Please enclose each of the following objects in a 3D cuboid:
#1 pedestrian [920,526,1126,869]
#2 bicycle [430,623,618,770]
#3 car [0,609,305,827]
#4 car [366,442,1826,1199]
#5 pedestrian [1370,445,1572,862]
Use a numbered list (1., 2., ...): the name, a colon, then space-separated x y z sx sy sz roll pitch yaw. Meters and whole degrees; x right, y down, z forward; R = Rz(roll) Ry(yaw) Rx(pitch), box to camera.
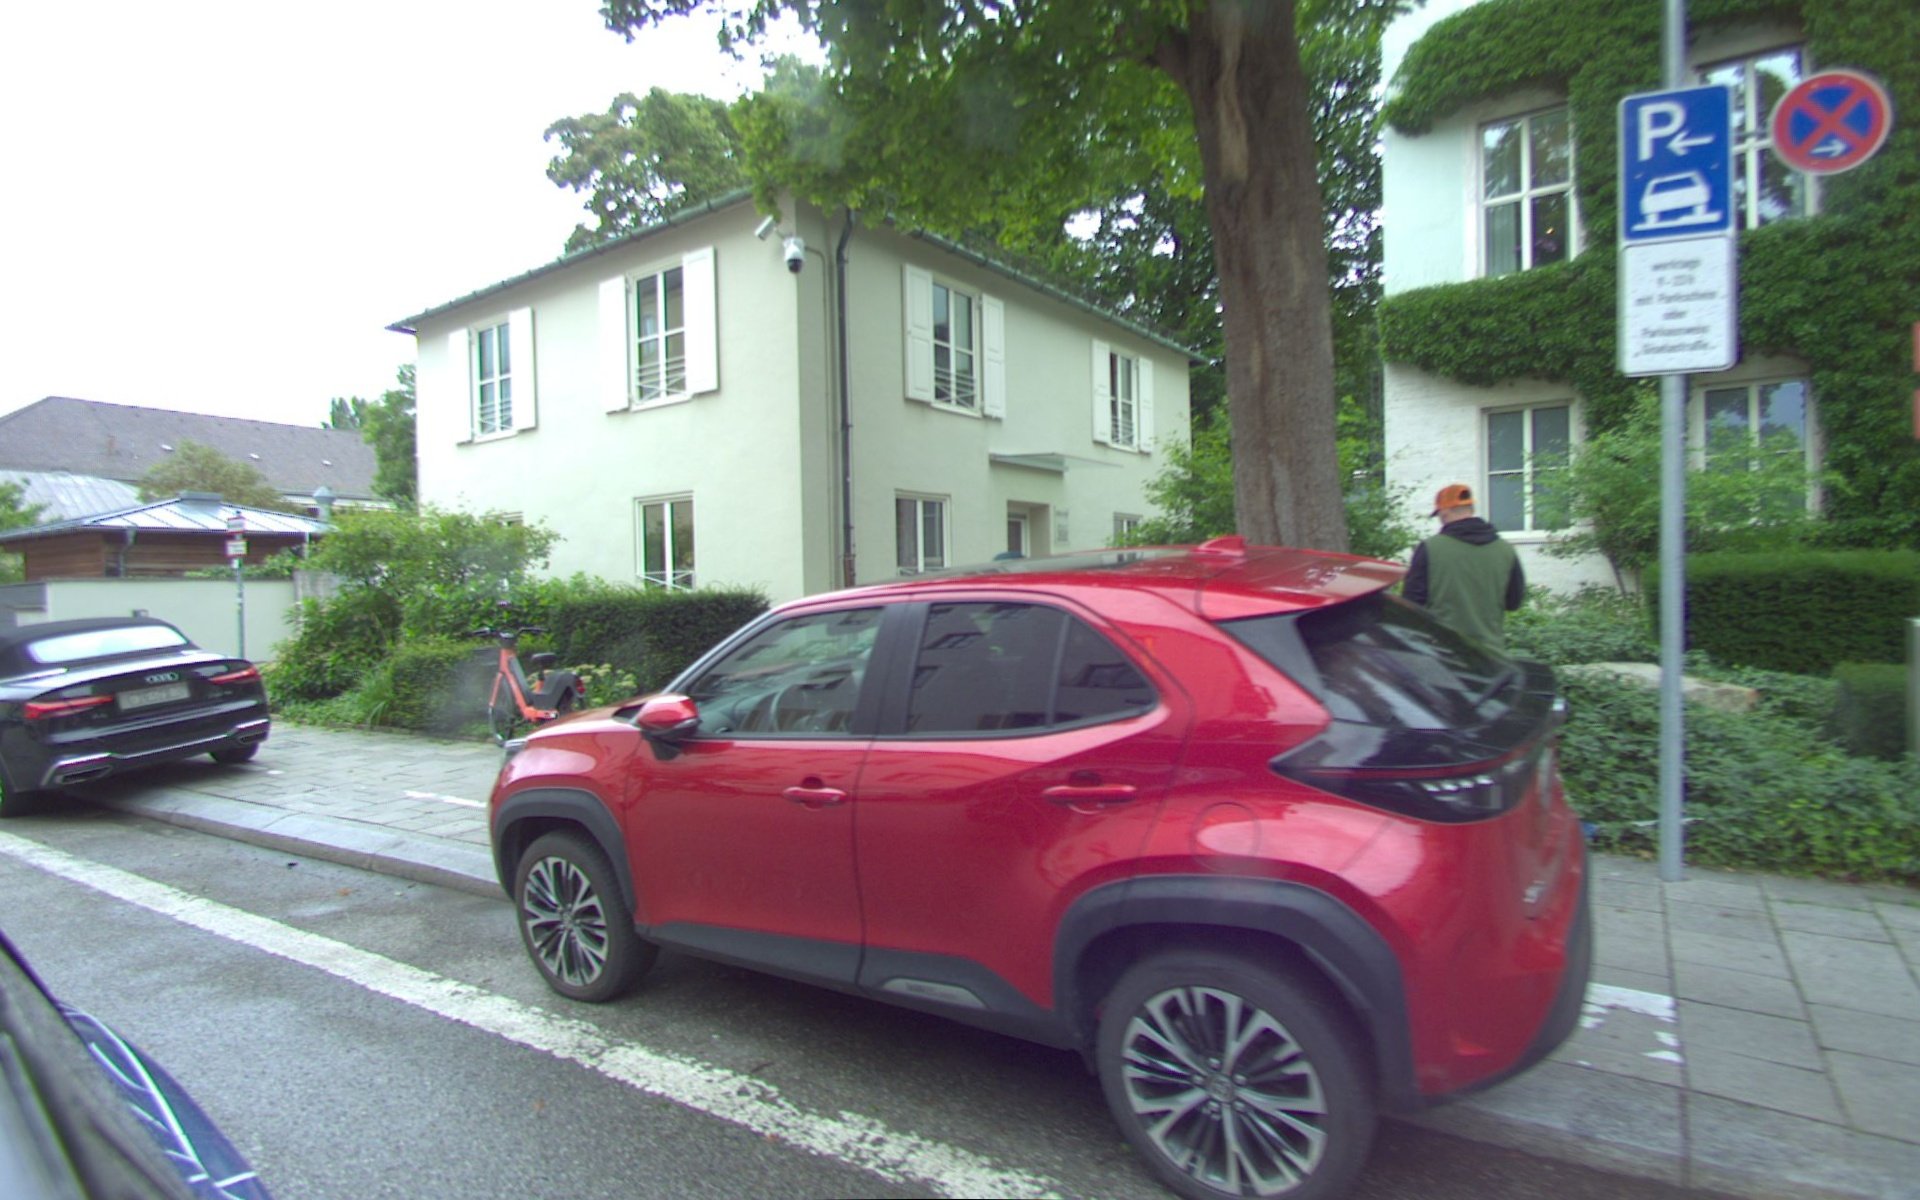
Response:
1. pedestrian: 0.330 0.435 5.082 0.749 1.560 0.709 -1 2 30
2. bicycle: -3.858 0.784 8.862 2.045 1.139 0.643 -1 0 40
3. car: -8.103 0.867 8.997 4.905 1.412 1.795 -1 2 31
4. car: 0.007 0.544 3.671 4.514 1.602 1.872 -1 2 33
5. pedestrian: 2.551 0.232 5.034 0.795 1.866 0.707 -1 2 34
